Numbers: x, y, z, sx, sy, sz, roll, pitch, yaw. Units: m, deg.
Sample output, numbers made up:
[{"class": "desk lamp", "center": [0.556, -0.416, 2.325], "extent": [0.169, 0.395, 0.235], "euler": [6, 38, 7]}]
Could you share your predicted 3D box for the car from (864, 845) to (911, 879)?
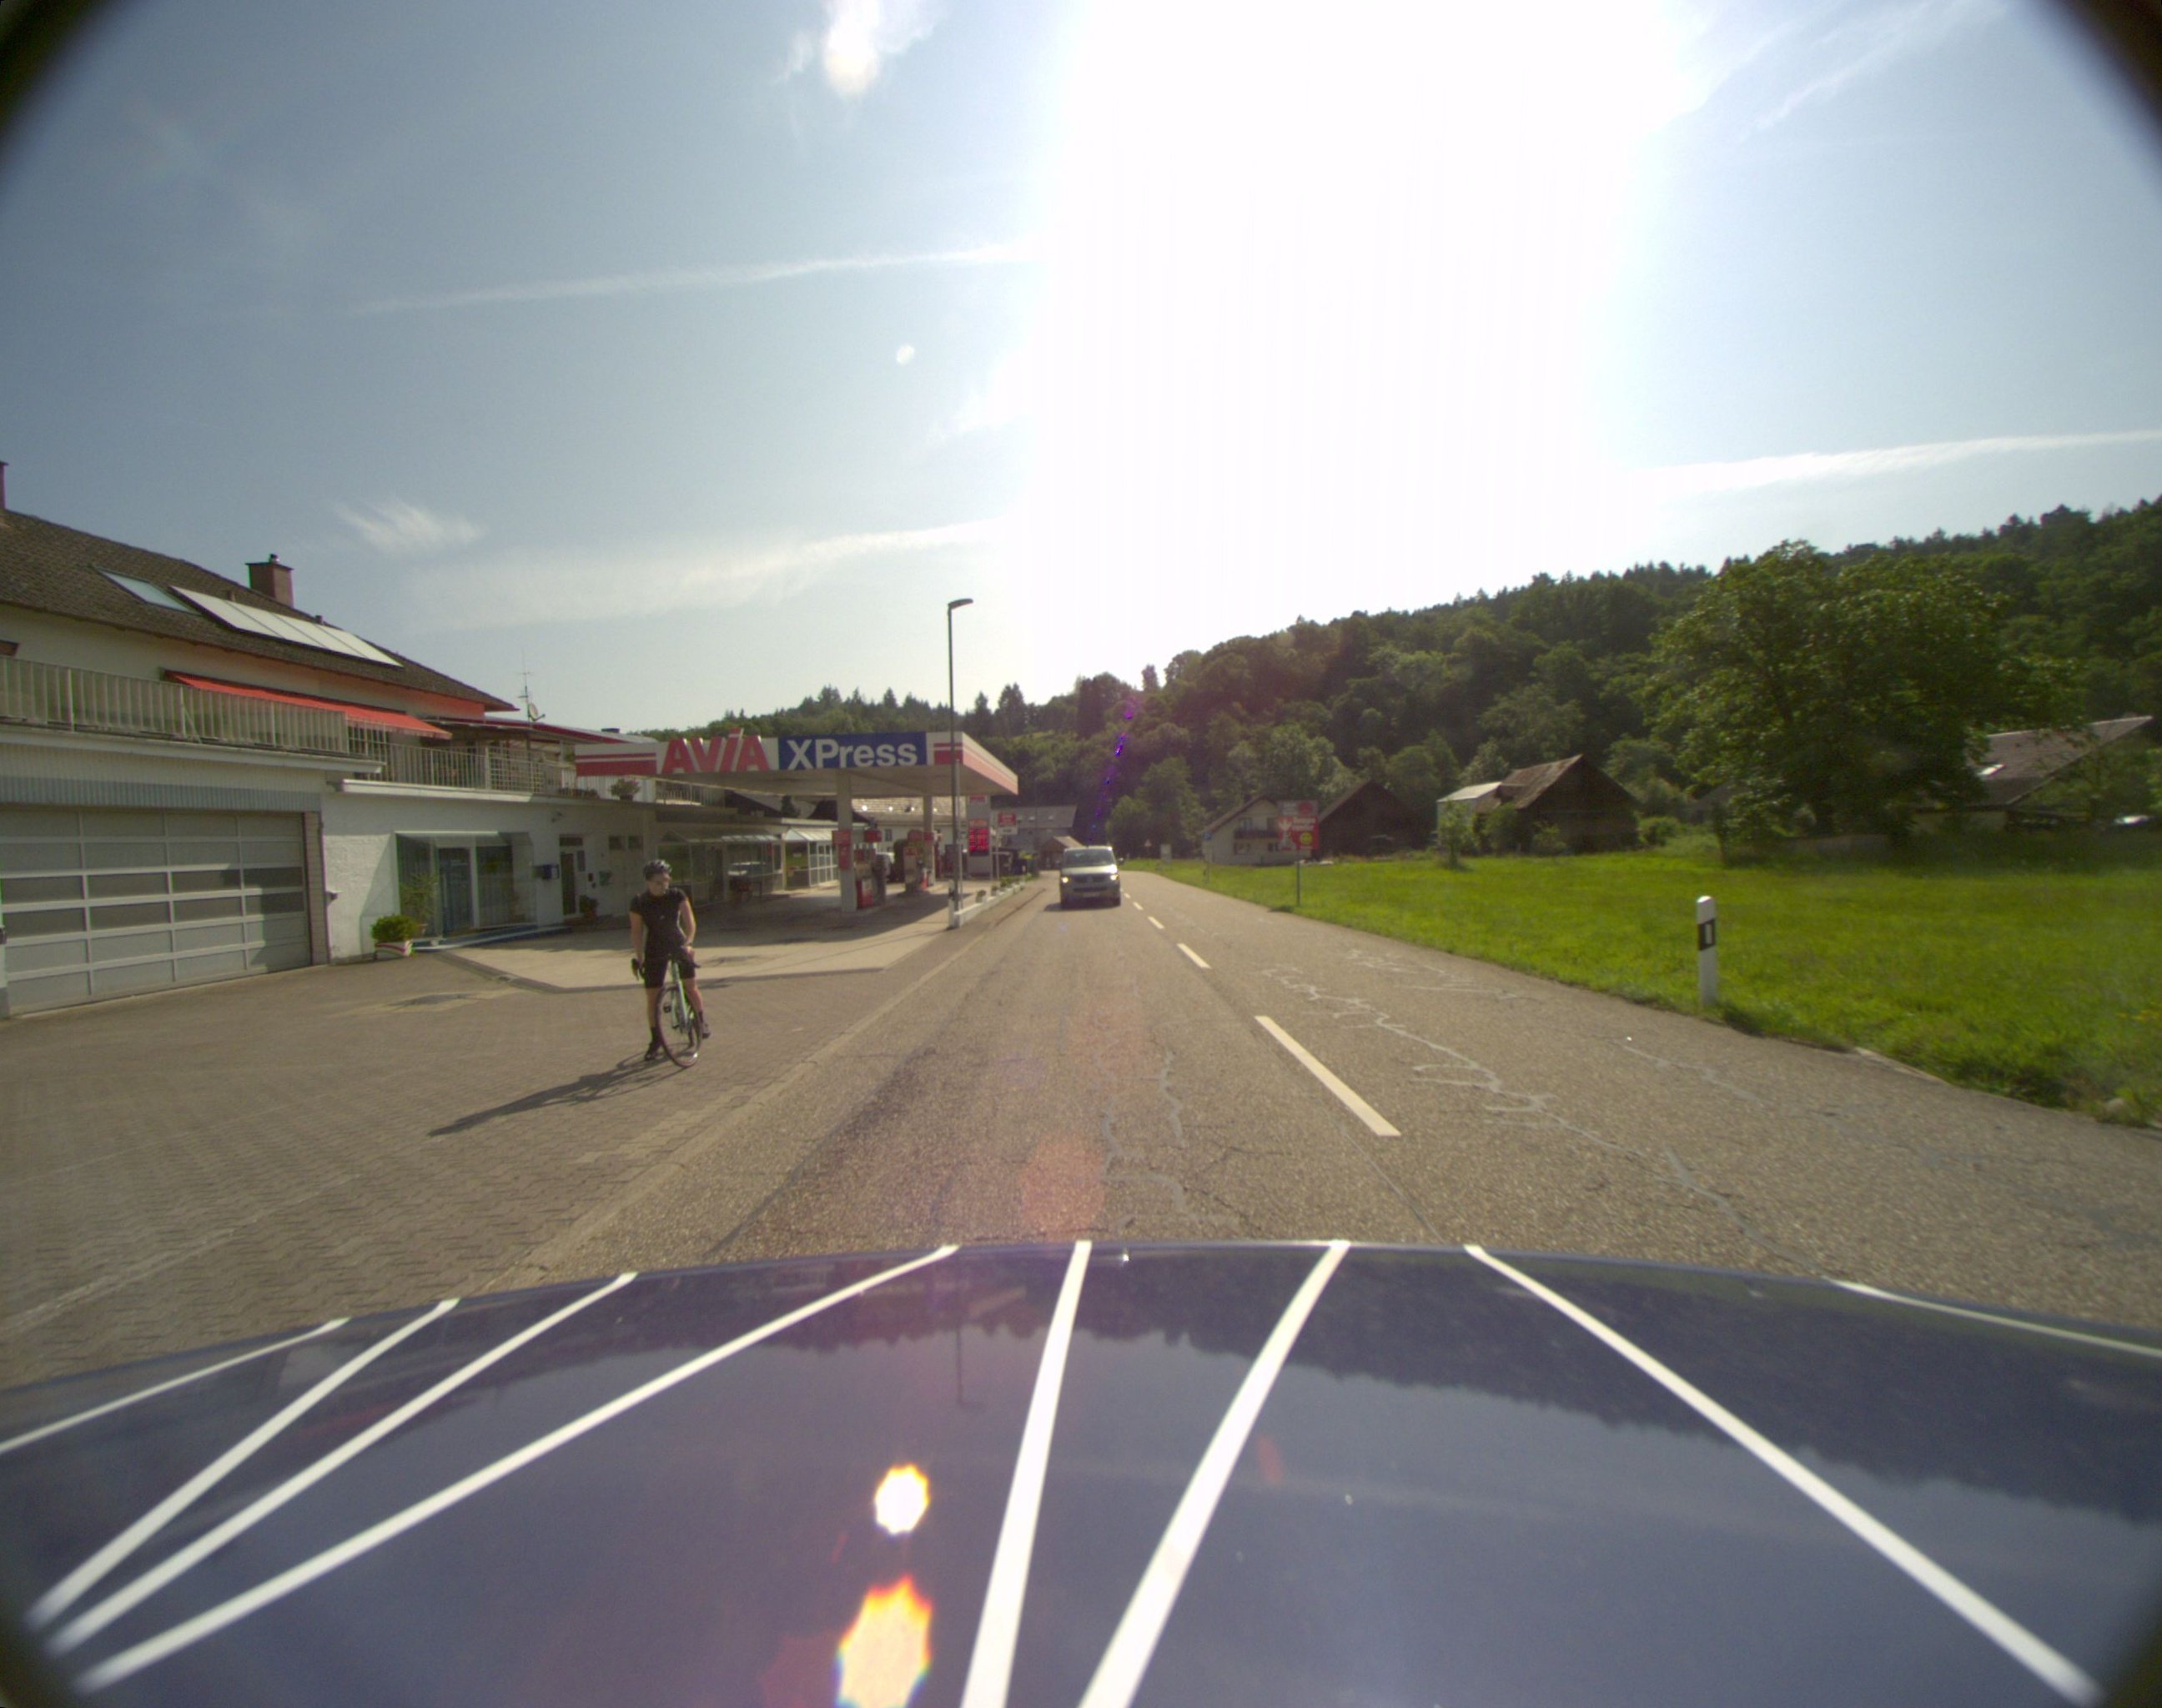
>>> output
[{"class": "car", "center": [-11.538, 0.419, 45.593], "extent": [1.684, 1.805, 3.999], "euler": [-3, 1, 0]}]

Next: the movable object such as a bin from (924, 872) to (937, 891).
[{"class": "movable object such as a bin", "center": [-6.925, 1.260, 34.992], "extent": [0.481, 0.840, 0.496], "euler": [-2, 1, -1]}]

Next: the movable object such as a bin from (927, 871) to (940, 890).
[{"class": "movable object such as a bin", "center": [-6.899, 1.250, 35.527], "extent": [0.481, 0.840, 0.528], "euler": [-2, 1, -1]}]

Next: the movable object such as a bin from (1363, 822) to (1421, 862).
[{"class": "movable object such as a bin", "center": [26.019, -1.009, 63.661], "extent": [4.185, 3.119, 2.205], "euler": [-2, 0, 15]}]

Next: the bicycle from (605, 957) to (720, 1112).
[{"class": "bicycle", "center": [-3.521, 1.433, 6.484], "extent": [0.691, 0.912, 1.946], "euler": [-4, -1, -27]}]

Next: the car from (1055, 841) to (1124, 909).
[{"class": "car", "center": [0.265, 0.667, 26.602], "extent": [2.024, 1.970, 5.048], "euler": [-5, 0, 0]}]

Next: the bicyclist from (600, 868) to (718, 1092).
[{"class": "bicyclist", "center": [-3.465, 0.968, 6.298], "extent": [0.691, 1.623, 1.139], "euler": [-4, -1, -27]}]
